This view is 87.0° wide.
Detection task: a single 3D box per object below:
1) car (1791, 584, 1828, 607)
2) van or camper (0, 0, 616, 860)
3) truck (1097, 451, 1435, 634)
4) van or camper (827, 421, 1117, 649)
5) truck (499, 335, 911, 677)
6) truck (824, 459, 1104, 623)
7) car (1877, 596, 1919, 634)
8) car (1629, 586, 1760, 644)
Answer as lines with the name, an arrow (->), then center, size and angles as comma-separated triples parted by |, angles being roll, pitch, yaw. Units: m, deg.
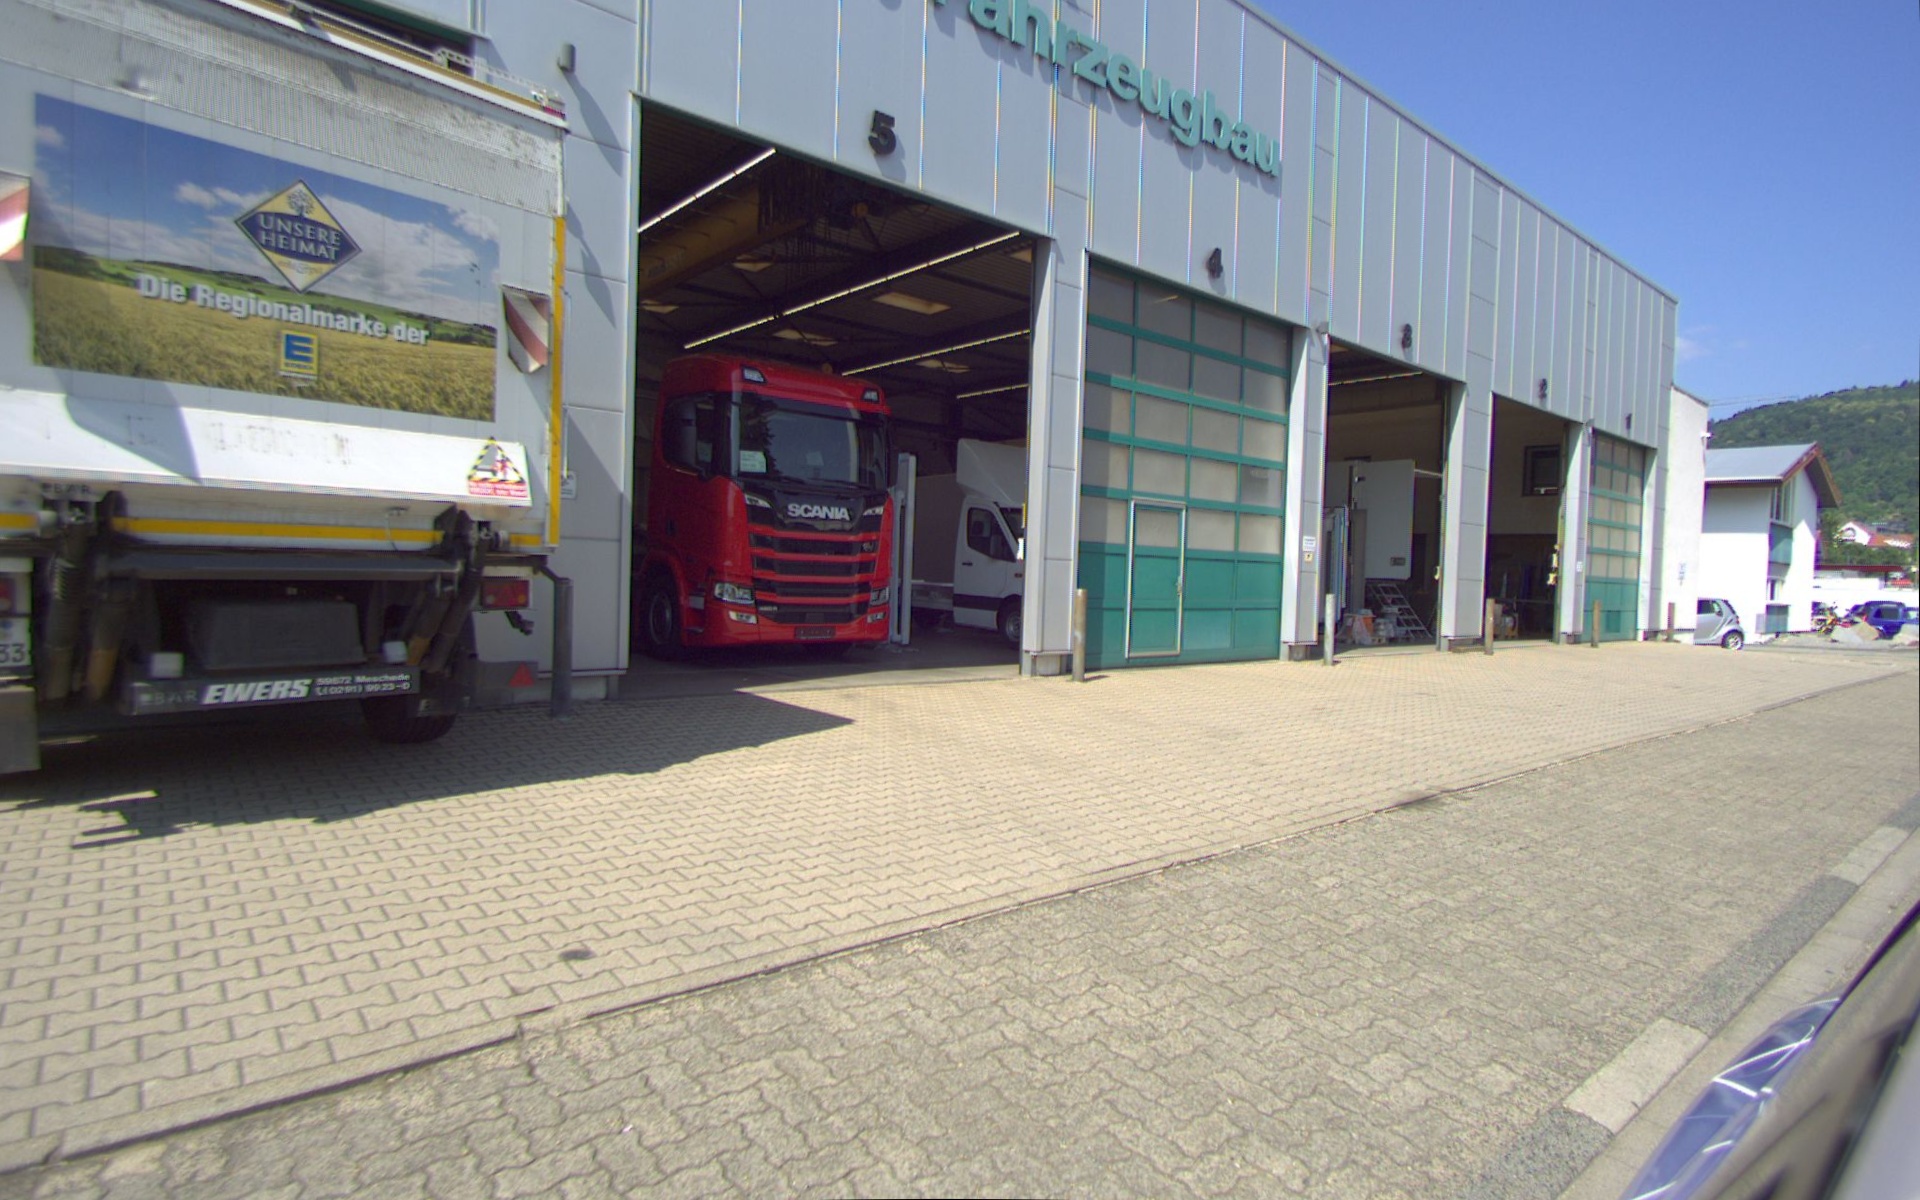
car -> 53.101, -0.297, 63.270 | 3.134, 1.396, 1.450 | -1, 1, -44
van or camper -> -7.050, -1.194, 8.351 | 11.598, 3.738, 2.738 | 4, 2, 43
truck -> 7.222, -1.408, 25.162 | 2.577, 3.828, 7.856 | 0, 3, -39
van or camper -> 0.016, -1.025, 16.979 | 1.966, 3.245, 5.051 | 0, 2, -42
truck -> -4.038, -1.144, 14.093 | 2.435, 3.445, 7.972 | 0, 3, -39
truck -> -0.180, -1.451, 25.471 | 2.720, 3.501, 7.571 | 0, 3, -40
car -> 35.337, 0.524, 36.675 | 1.427, 1.357, 2.974 | -1, 1, -39
car -> 21.401, 0.414, 29.563 | 2.772, 1.553, 1.312 | 2, 0, 3
